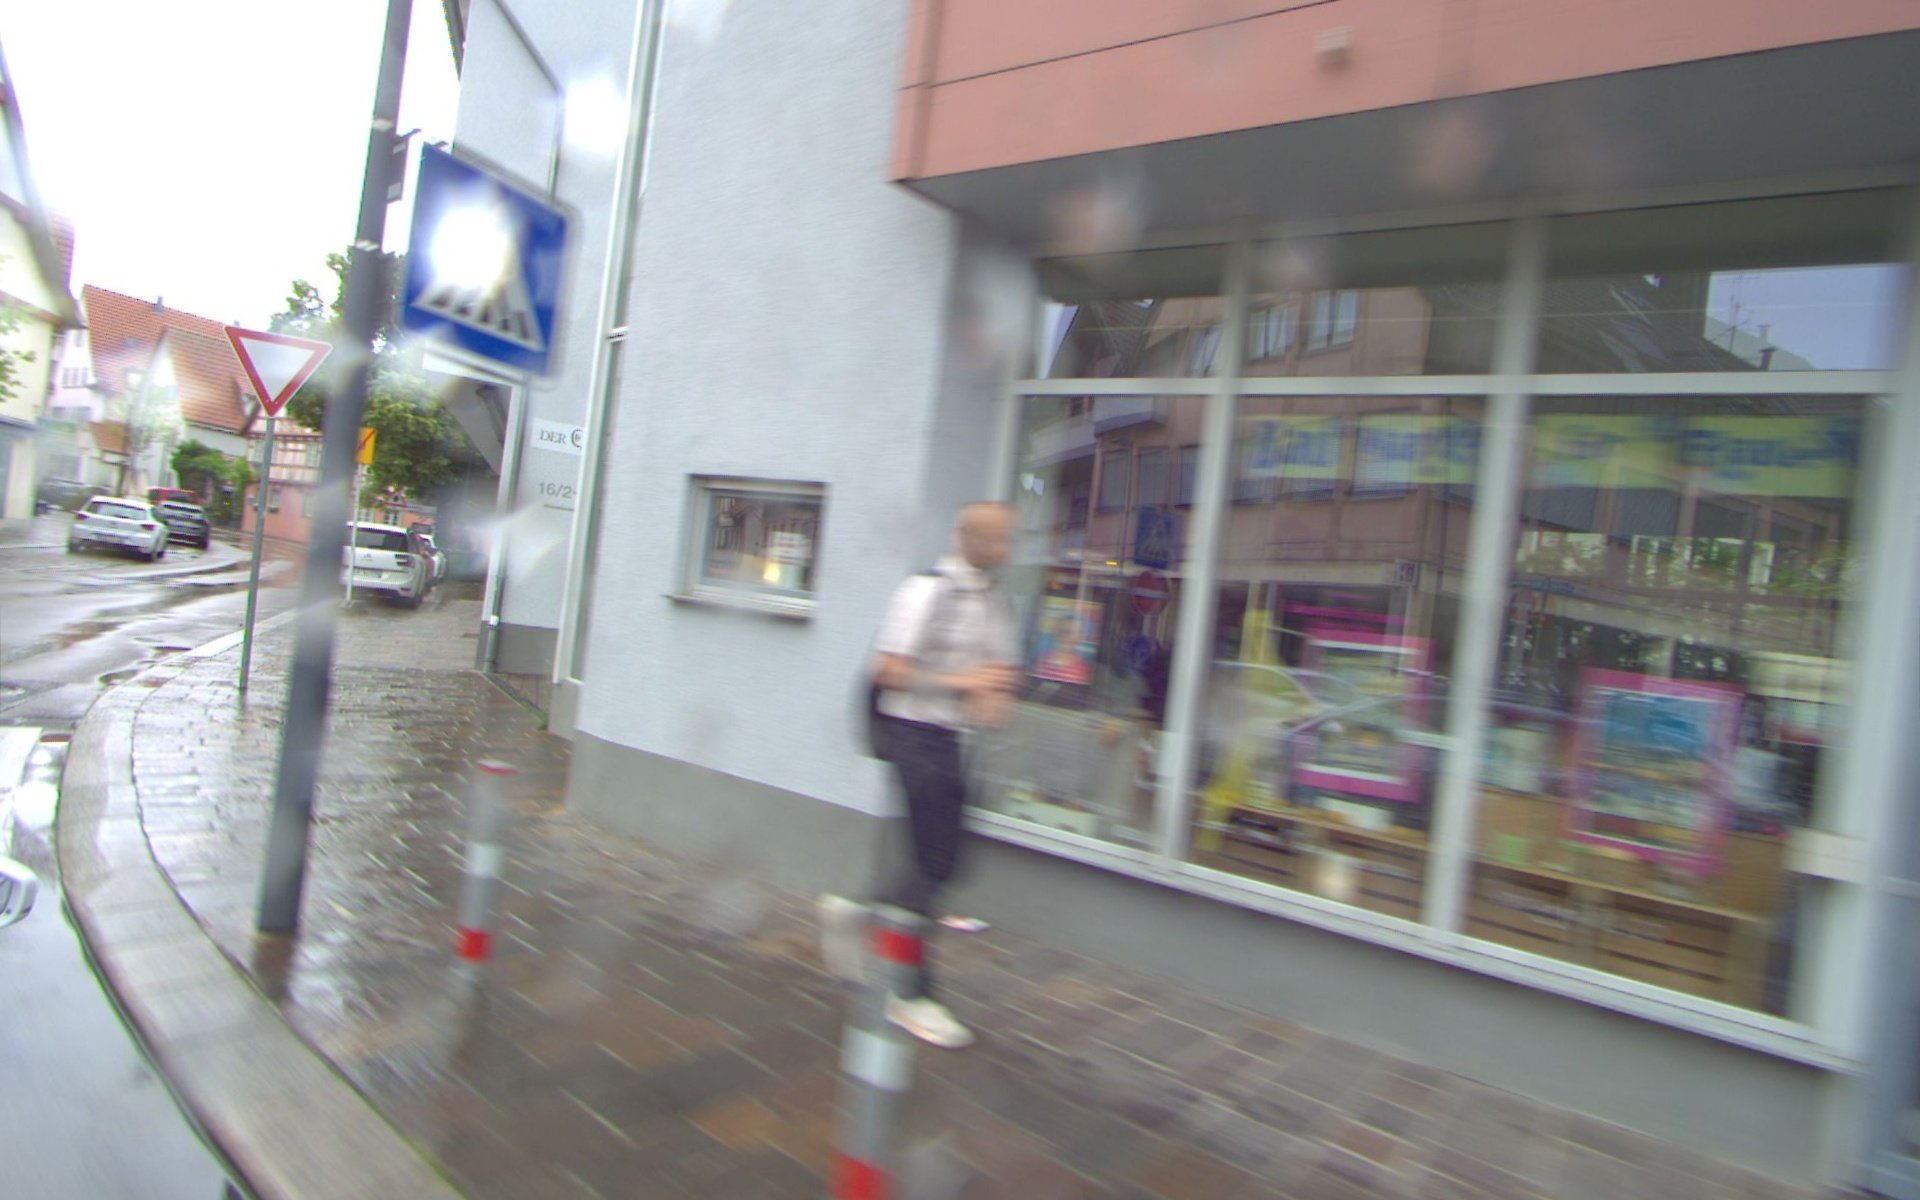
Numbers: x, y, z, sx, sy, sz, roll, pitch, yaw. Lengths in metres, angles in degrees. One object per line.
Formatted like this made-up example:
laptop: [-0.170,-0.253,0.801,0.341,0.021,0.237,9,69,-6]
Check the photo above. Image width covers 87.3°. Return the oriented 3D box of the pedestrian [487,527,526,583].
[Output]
pedestrian: [-15.379,-1.513,34.125,0.873,1.733,0.887,7,-1,-14]

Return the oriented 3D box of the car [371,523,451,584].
car: [-17.081,-1.457,31.460,1.771,1.575,3.925,7,0,-25]

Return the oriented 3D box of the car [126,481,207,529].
car: [-40.607,-4.862,51.455,3.934,1.832,1.898,9,-1,32]

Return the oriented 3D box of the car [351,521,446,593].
car: [-14.478,-1.061,26.110,1.772,1.485,3.926,8,-2,-26]

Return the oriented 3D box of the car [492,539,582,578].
car: [-25.528,-2.487,60.885,1.966,1.654,4.606,10,2,31]

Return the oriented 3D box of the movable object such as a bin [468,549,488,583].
movable object such as a bin: [-16.989,-1.201,35.436,0.533,1.097,0.722,5,2,-28]

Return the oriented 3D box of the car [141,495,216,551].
car: [-27.776,-2.701,35.720,1.868,1.558,4.353,9,-2,-39]

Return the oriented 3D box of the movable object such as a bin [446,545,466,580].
movable object such as a bin: [-17.602,-1.302,35.144,0.533,1.145,0.722,6,2,-28]

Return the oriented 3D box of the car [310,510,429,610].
car: [-12.348,-0.800,21.272,1.773,1.658,4.410,8,-2,-28]

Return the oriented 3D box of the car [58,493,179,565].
car: [-21.882,-1.898,26.315,1.838,1.470,4.034,8,0,-34]

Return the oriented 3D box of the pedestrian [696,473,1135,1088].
pedestrian: [-0.152,0.539,3.663,1.128,1.827,0.821,6,-1,33]
